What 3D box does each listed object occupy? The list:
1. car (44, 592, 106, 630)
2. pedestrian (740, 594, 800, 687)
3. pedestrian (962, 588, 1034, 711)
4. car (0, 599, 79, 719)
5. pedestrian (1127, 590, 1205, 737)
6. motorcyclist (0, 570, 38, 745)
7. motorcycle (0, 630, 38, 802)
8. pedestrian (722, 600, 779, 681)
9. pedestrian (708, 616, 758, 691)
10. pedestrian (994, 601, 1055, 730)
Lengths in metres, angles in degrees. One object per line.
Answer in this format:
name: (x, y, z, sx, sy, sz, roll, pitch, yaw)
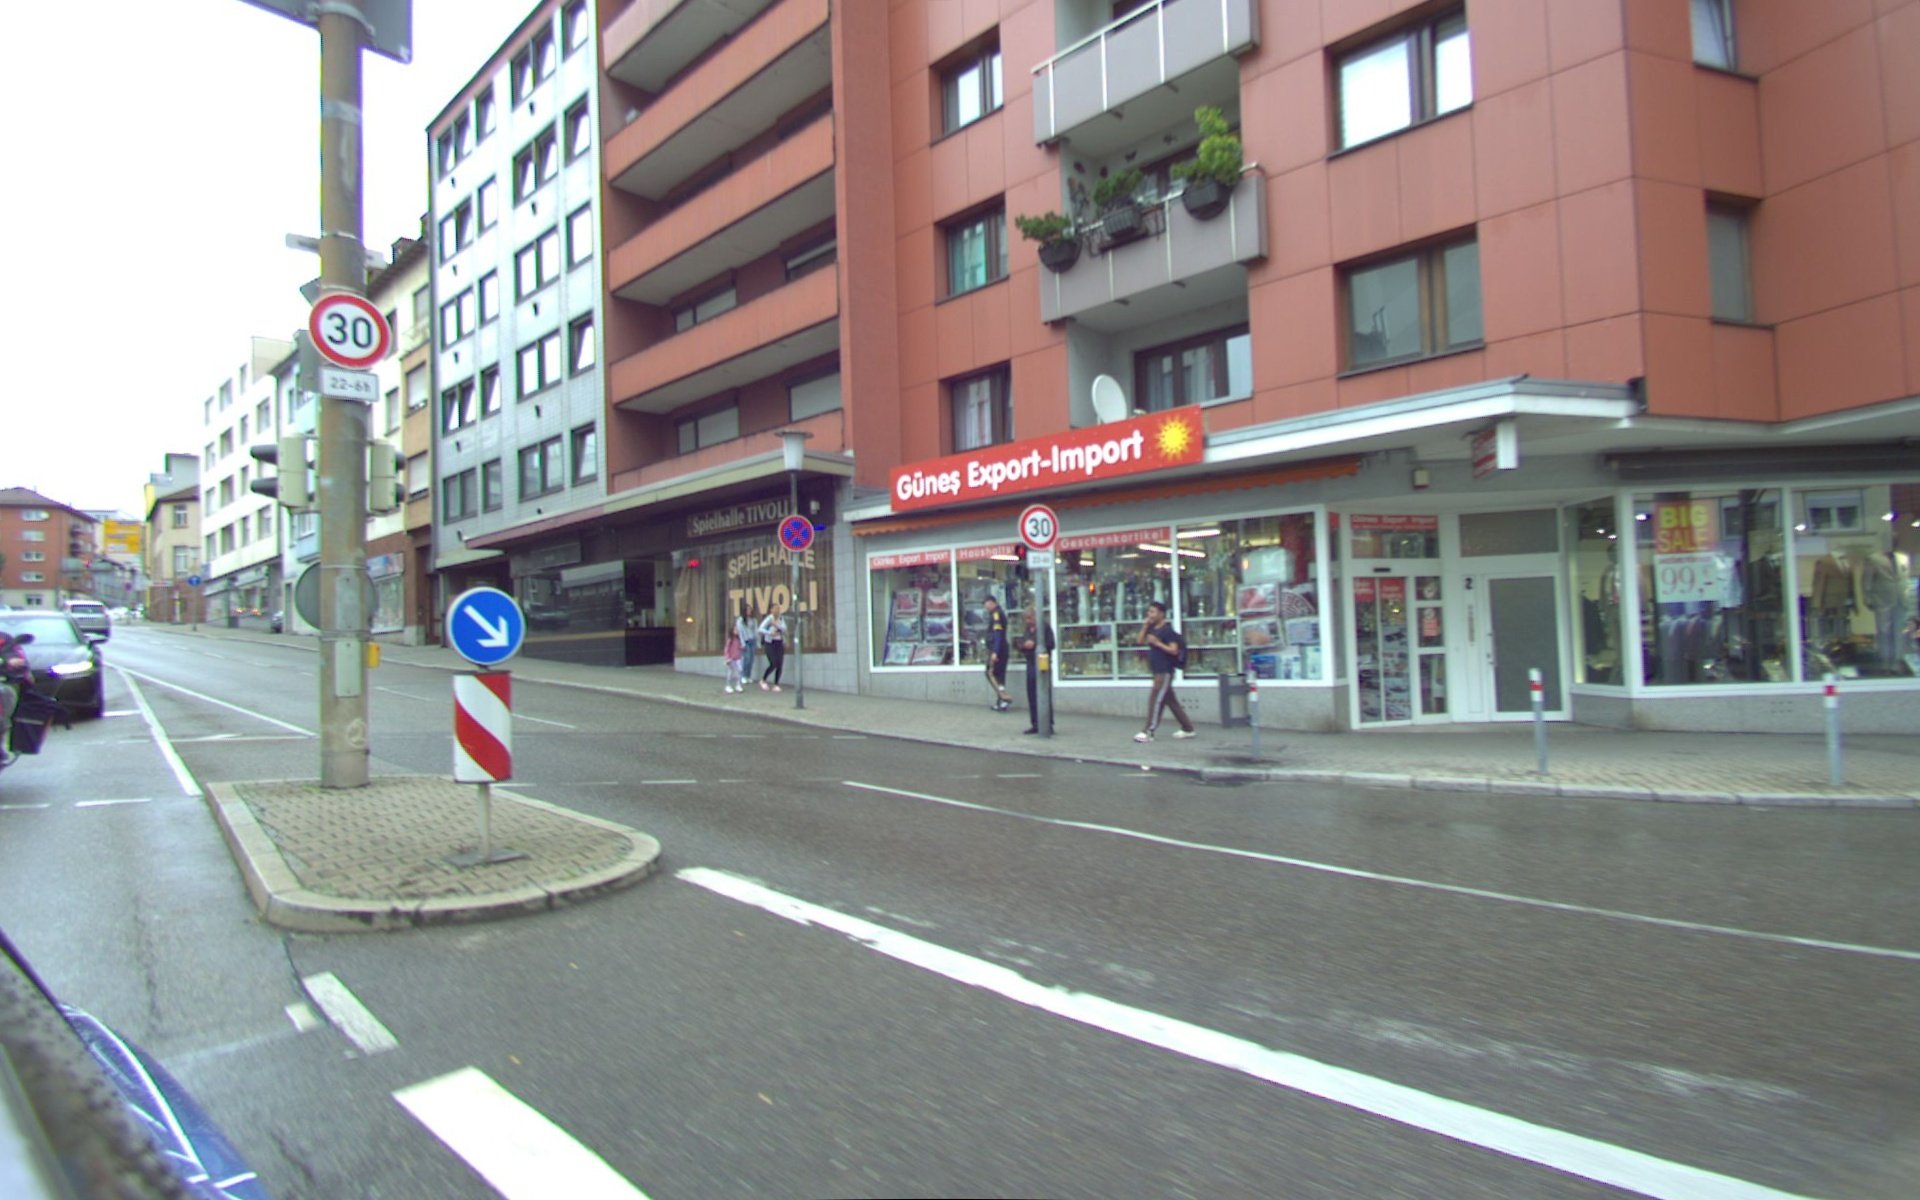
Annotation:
car: (-39.778, 0.501, 45.463, 4.177, 1.605, 1.715, 0, -2, 44)
pedestrian: (-3.633, 0.754, 19.382, 0.722, 1.702, 0.820, -1, 1, 36)
pedestrian: (0.606, 0.759, 15.966, 0.843, 1.862, 0.753, -1, -1, 39)
car: (-13.590, 0.786, 14.176, 1.681, 1.471, 4.322, -3, 1, -43)
pedestrian: (2.666, 0.795, 13.187, 0.712, 1.845, 0.832, 0, -1, -11)
motorcyclist: (-8.125, 0.455, 8.151, 0.996, 1.391, 0.835, 2, -2, -44)
motorcycle: (-8.197, 0.875, 8.213, 0.996, 1.235, 2.696, 2, -2, -43)
pedestrian: (-4.219, 0.798, 20.373, 0.722, 1.572, 0.820, -1, 1, 36)
pedestrian: (-4.243, 0.981, 18.895, 0.722, 1.333, 0.528, -1, 1, 36)
pedestrian: (0.891, 0.877, 13.889, 0.623, 1.710, 0.548, -1, -1, 41)
